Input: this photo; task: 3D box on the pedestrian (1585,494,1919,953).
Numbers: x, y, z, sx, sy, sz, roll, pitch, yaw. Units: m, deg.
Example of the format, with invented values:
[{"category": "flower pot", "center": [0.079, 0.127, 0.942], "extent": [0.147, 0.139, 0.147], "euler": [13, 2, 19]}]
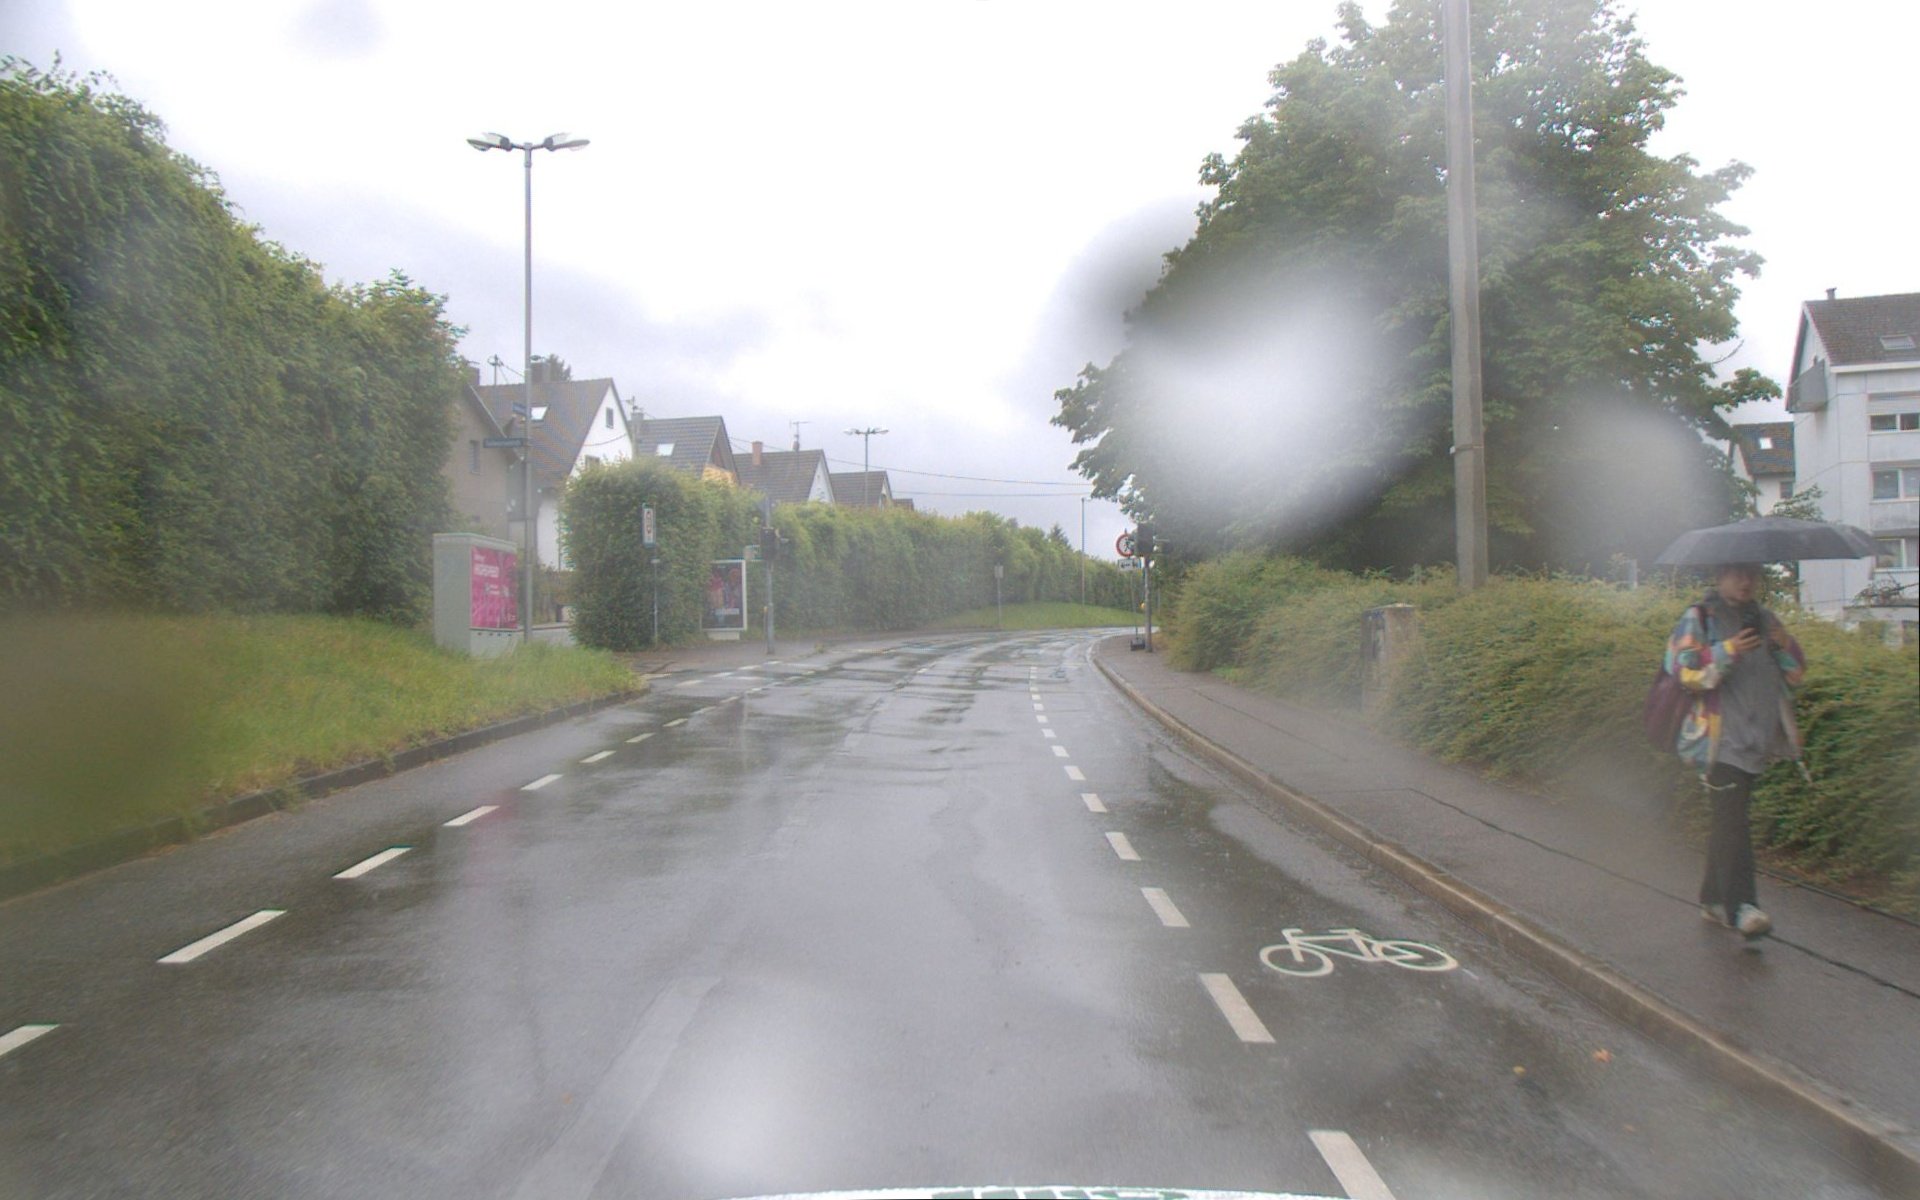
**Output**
[{"category": "pedestrian", "center": [3.261, 0.465, 6.819], "extent": [0.901, 1.704, 1.057], "euler": [-2, 0, -1]}]
